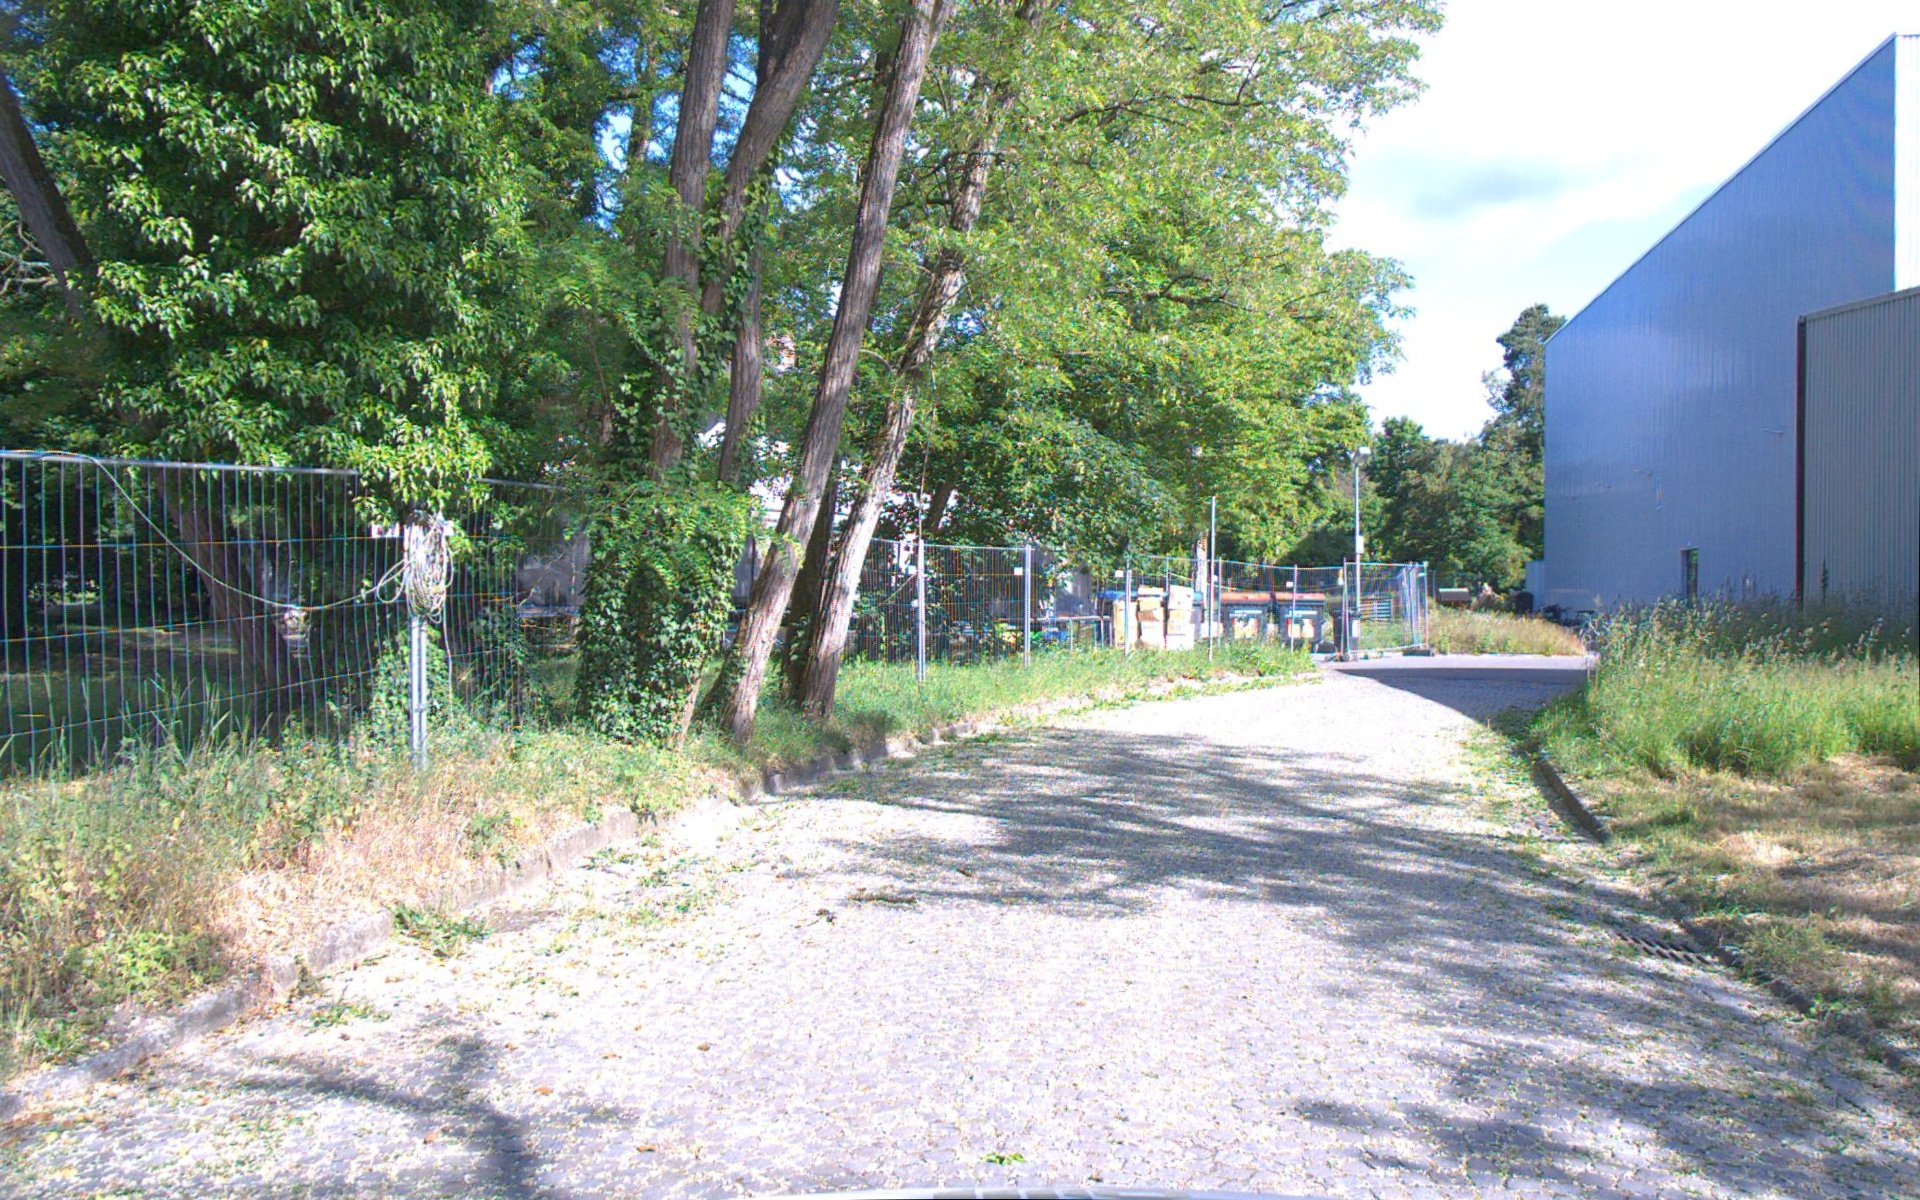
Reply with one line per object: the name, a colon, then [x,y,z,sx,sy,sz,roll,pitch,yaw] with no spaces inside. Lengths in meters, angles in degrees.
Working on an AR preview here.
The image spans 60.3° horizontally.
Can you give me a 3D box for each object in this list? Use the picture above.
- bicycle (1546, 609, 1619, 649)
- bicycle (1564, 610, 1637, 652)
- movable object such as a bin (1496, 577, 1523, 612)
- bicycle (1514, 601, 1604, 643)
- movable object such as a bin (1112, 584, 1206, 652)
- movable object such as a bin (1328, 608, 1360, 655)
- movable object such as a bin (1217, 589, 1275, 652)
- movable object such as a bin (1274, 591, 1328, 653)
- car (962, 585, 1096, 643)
bicycle: [17.550,0.811,46.638,1.847,1.114,0.526,0,-1,9]
bicycle: [17.076,0.815,44.128,1.753,1.101,0.525,0,0,12]
movable object such as a bin: [32.010,-0.315,96.409,1.388,2.049,1.126,0,0,15]
bicycle: [18.861,0.688,52.121,2.574,1.288,1.141,0,0,15]
movable object such as a bin: [4.860,0.424,40.578,2.240,1.619,1.175,0,0,4]
movable object such as a bin: [9.289,0.763,39.984,0.720,1.116,0.820,0,0,14]
movable object such as a bin: [7.001,0.496,40.500,1.309,1.510,0.807,0,0,4]
movable object such as a bin: [8.297,0.531,40.302,1.218,1.470,0.703,0,0,5]
car: [2.469,0.502,58.563,4.610,1.935,2.001,-1,-1,6]
